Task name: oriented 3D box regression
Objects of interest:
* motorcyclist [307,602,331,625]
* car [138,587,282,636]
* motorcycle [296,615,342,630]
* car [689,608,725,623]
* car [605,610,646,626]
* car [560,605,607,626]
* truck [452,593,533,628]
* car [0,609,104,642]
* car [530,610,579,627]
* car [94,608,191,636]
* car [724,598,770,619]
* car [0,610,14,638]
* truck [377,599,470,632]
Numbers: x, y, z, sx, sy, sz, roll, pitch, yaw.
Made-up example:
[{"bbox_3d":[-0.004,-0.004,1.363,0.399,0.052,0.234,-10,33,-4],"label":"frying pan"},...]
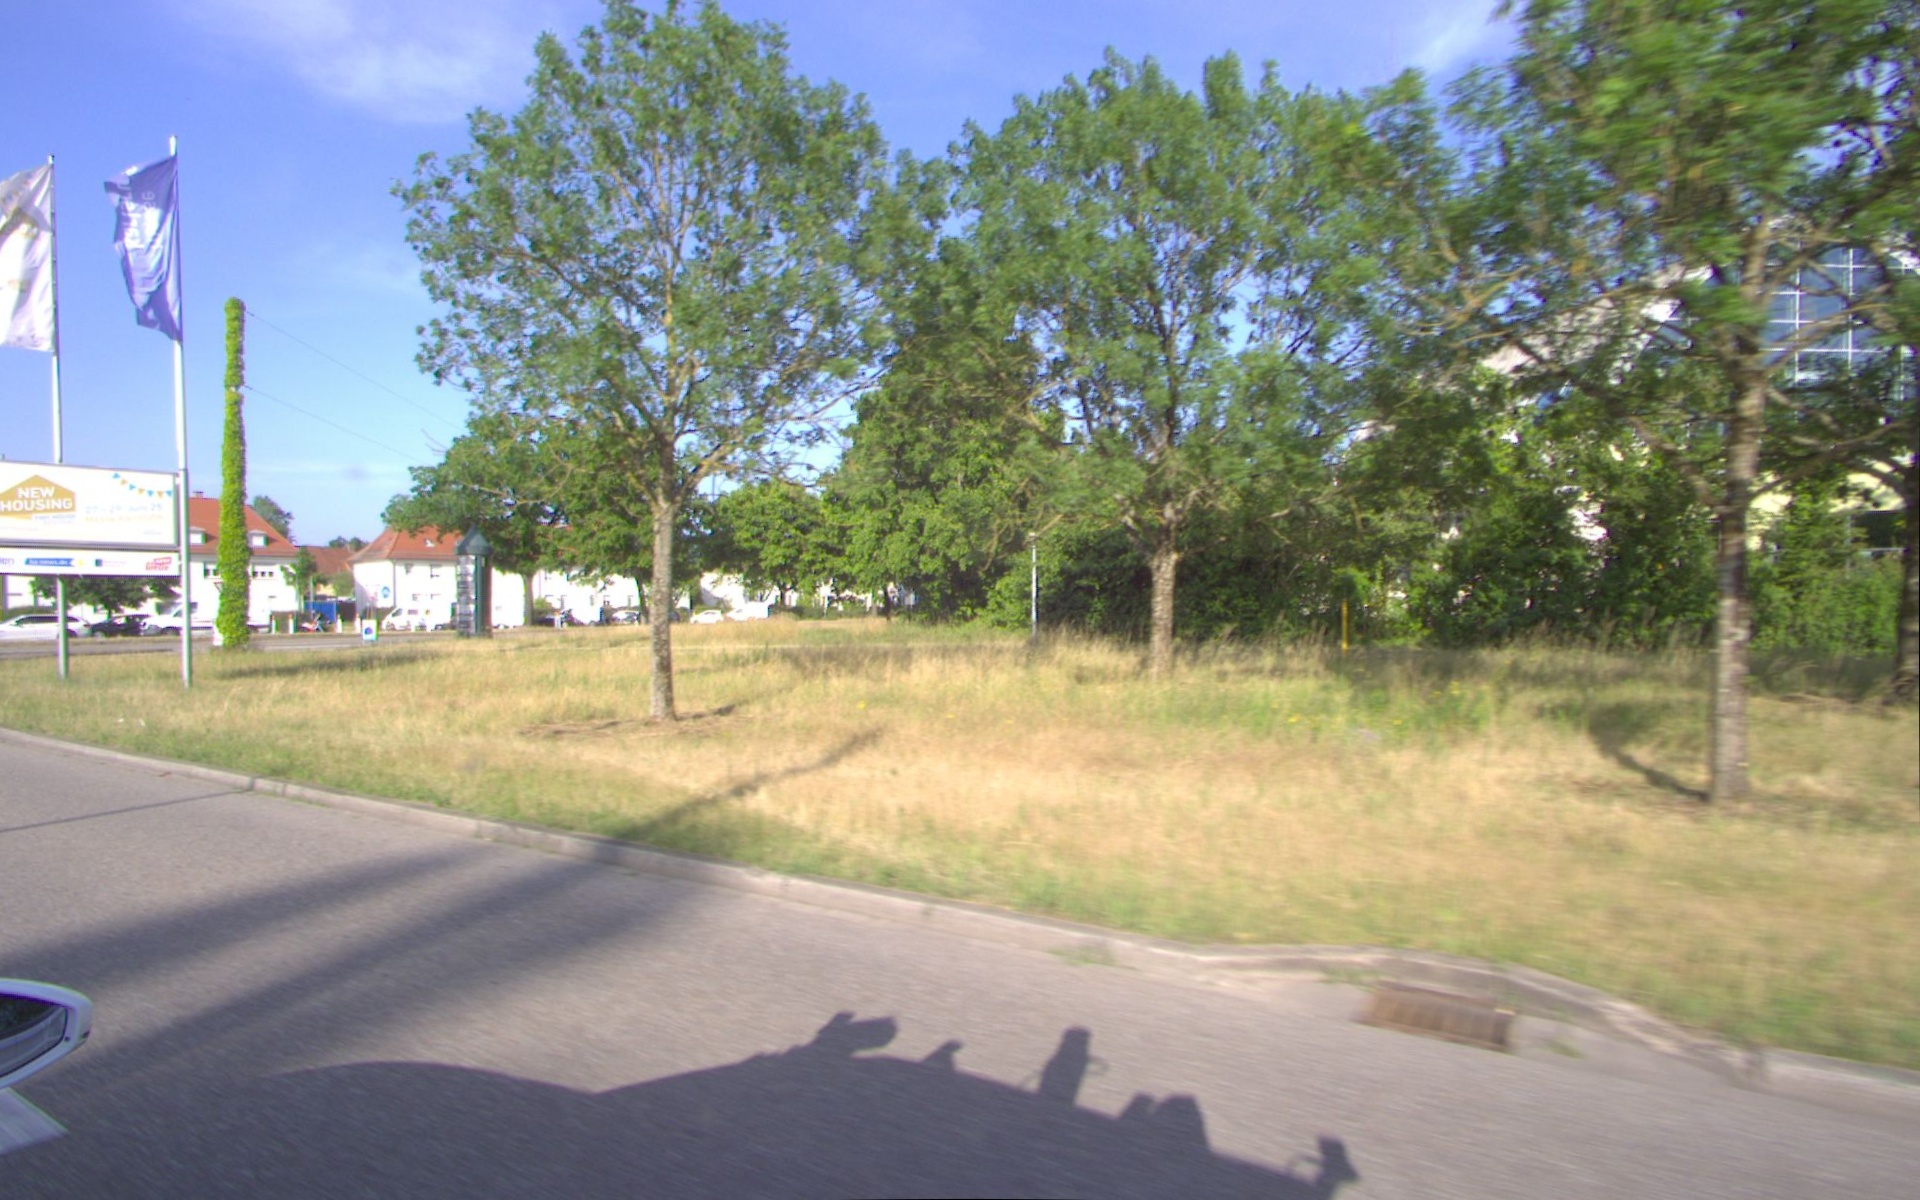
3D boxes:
[{"bbox_3d":[-38.385,0.805,59.981,0.671,1.369,1.062,0,0,36],"label":"motorcyclist"},{"bbox_3d":[-42.039,0.660,56.280,1.974,2.617,6.187,0,0,36],"label":"car"},{"bbox_3d":[-38.385,1.319,59.991,0.681,0.878,2.264,0,0,35],"label":"motorcycle"},{"bbox_3d":[-26.453,1.651,104.622,3.367,1.534,1.896,0,0,-5],"label":"car"},{"bbox_3d":[-32.227,1.721,96.499,3.432,1.534,1.896,0,0,-5],"label":"car"},{"bbox_3d":[-35.237,1.427,93.781,3.835,1.945,1.895,0,0,-9],"label":"car"},{"bbox_3d":[-39.962,0.919,85.784,5.964,2.892,1.895,0,0,-10],"label":"truck"},{"bbox_3d":[-46.428,1.251,50.236,1.816,1.583,5.076,0,0,37],"label":"car"},{"bbox_3d":[-36.937,1.652,91.244,3.837,1.475,1.894,0,0,-13],"label":"car"},{"bbox_3d":[-46.083,1.215,56.517,1.694,1.472,3.973,0,0,37],"label":"car"},{"bbox_3d":[-23.291,0.912,109.656,4.885,2.261,1.999,0,0,-9],"label":"car"},{"bbox_3d":[-50.893,1.204,50.218,1.694,1.430,4.806,0,0,37],"label":"car"},{"bbox_3d":[-43.115,1.241,80.549,6.233,2.557,2.277,0,0,2],"label":"truck"}]
